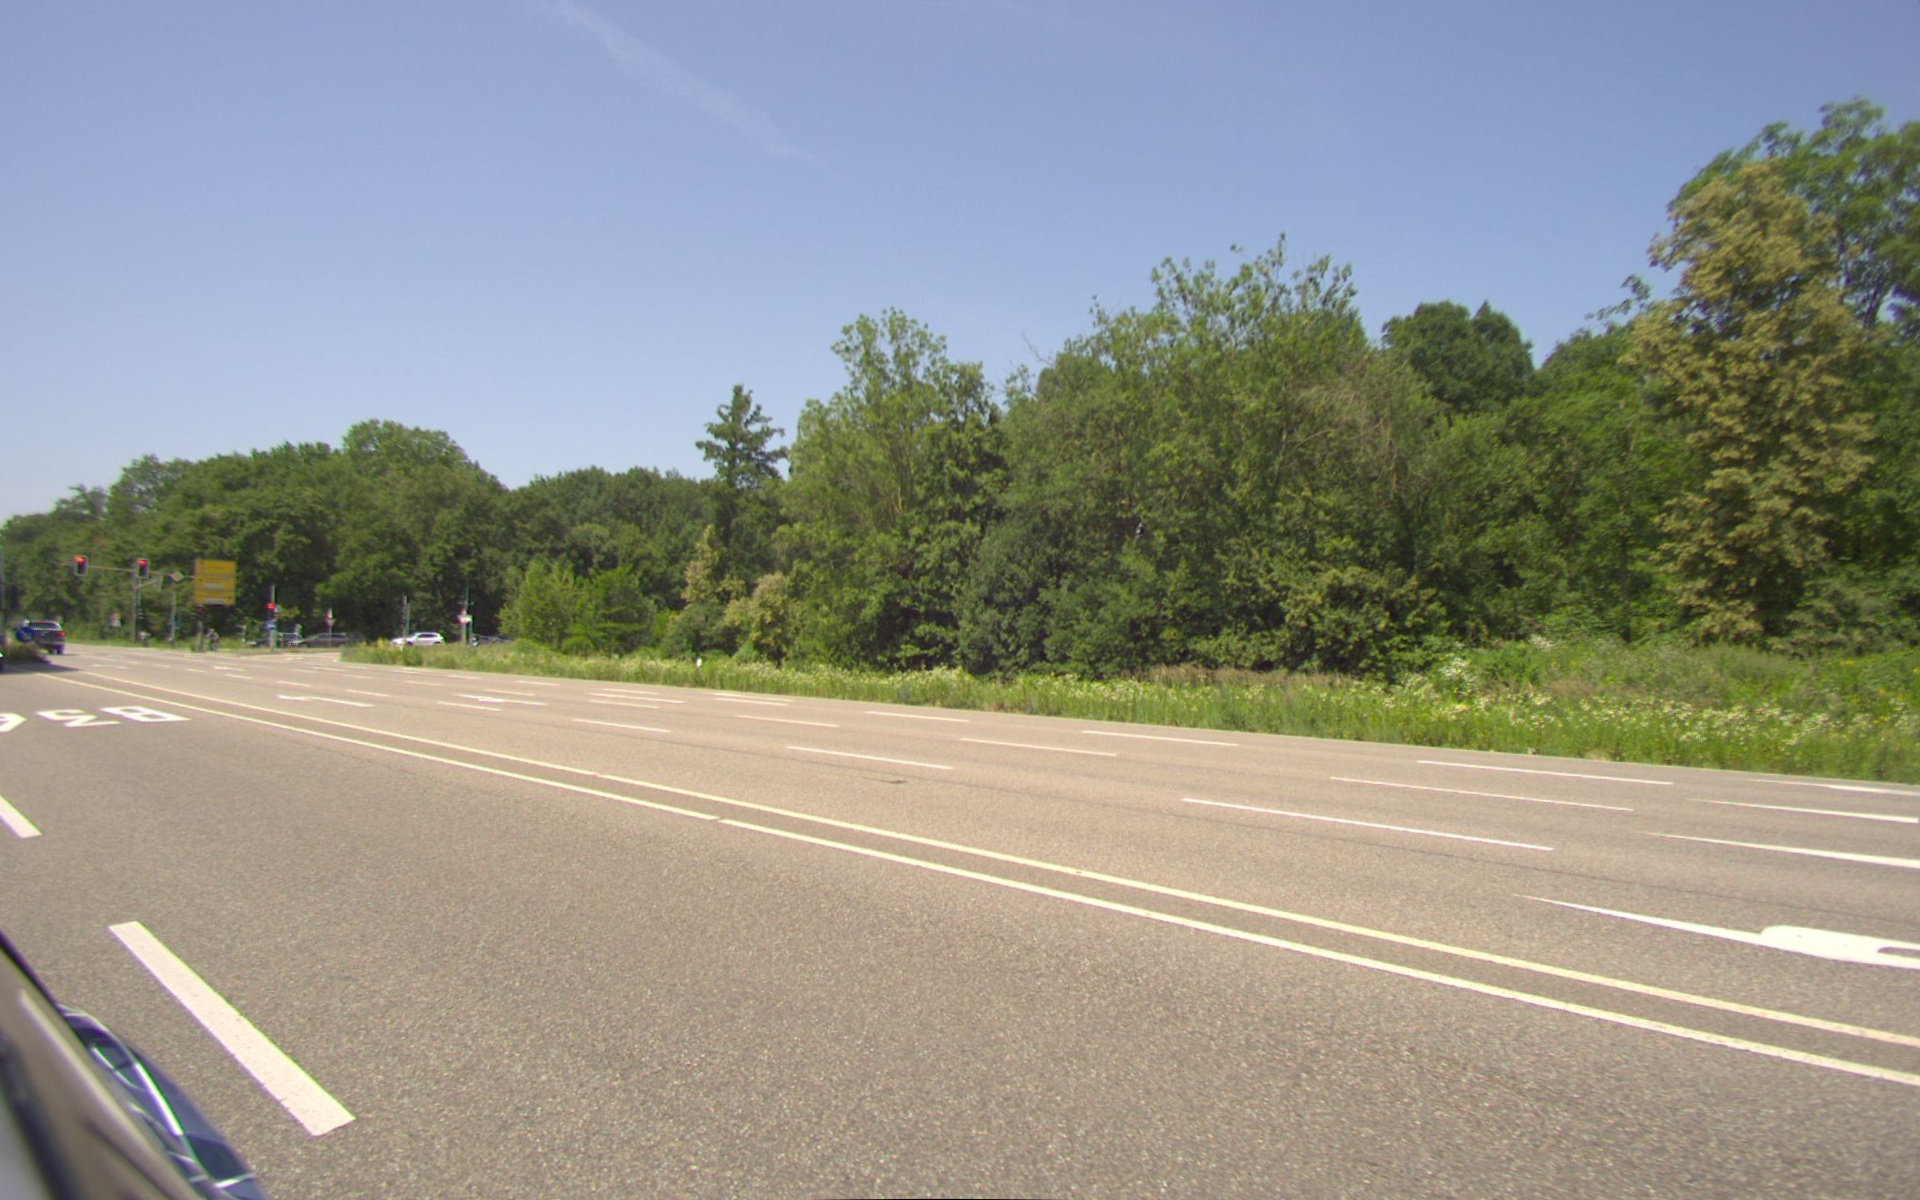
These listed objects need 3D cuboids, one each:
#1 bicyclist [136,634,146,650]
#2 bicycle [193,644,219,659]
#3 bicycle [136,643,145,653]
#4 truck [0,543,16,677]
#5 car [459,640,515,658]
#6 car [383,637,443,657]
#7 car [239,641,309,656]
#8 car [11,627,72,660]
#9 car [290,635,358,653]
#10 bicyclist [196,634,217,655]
[{"bbox_3d":[-75.180,3.861,92.862,0.651,1.476,0.811,3,-4,-39],"label":"bicyclist"},{"bbox_3d":[-53.046,3.611,71.228,0.712,1.071,1.873,1,-3,-11],"label":"bicycle"},{"bbox_3d":[-75.212,4.411,92.876,0.558,0.930,1.608,3,-4,-38],"label":"bicycle"},{"bbox_3d":[-32.960,0.397,32.431,11.313,3.914,2.718,-2,-2,41],"label":"truck"},{"bbox_3d":[-48.523,5.028,103.803,1.998,1.770,4.756,-2,-4,40],"label":"car"},{"bbox_3d":[-53.242,4.578,98.579,2.066,1.910,4.753,-2,-4,42],"label":"car"},{"bbox_3d":[-60.834,4.291,89.760,2.105,1.300,4.753,-2,-4,42],"label":"car"},{"bbox_3d":[-51.008,2.411,56.167,5.365,1.691,1.972,-2,-5,43],"label":"car"},{"bbox_3d":[-55.958,3.881,89.102,1.860,1.530,4.756,-2,-4,40],"label":"car"},{"bbox_3d":[-53.021,3.120,71.246,0.911,1.471,0.718,1,-3,-11],"label":"bicyclist"}]
